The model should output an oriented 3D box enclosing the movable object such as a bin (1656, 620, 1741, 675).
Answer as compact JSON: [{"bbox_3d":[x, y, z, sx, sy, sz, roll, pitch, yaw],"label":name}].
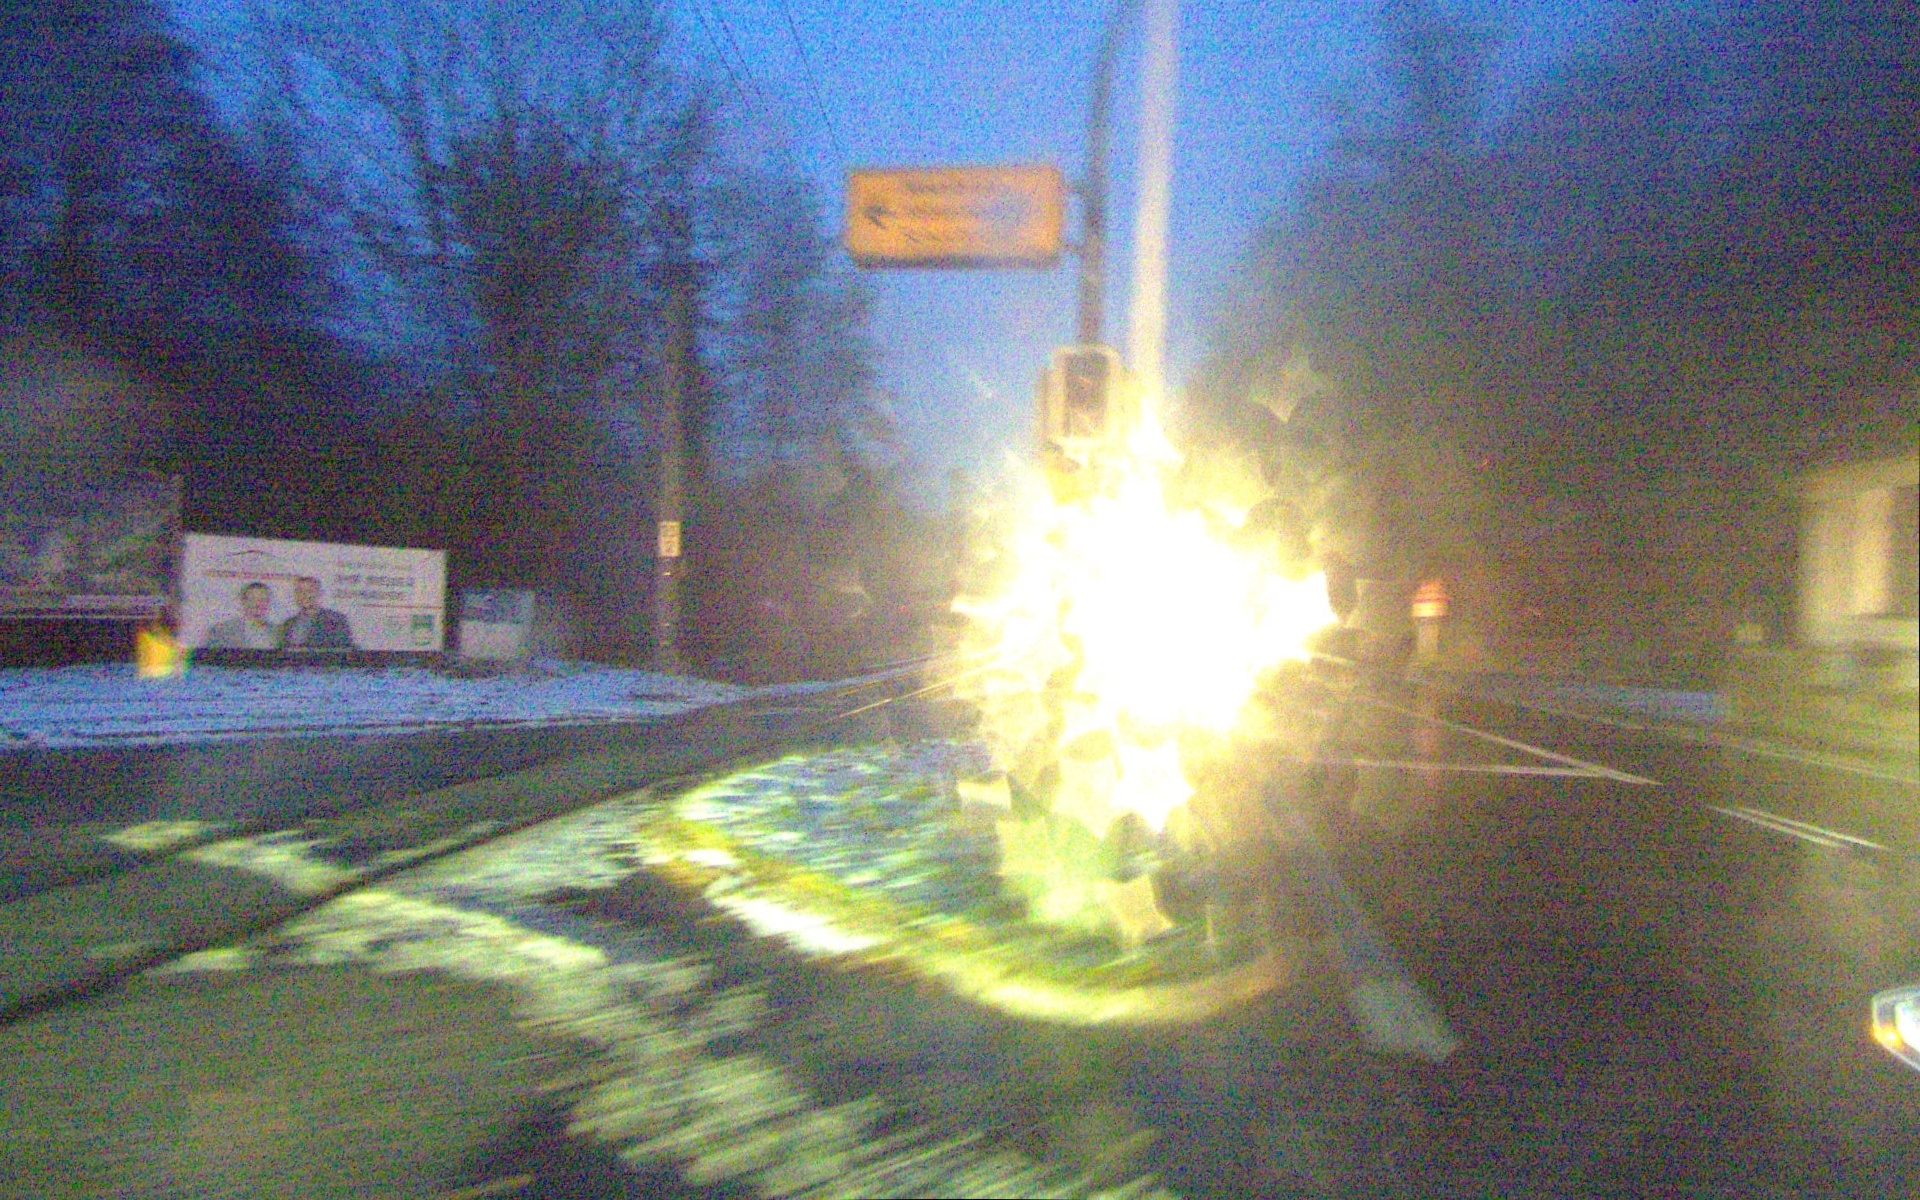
[{"bbox_3d":[19.803,1.270,26.966,1.232,1.431,1.385,1,-3,-20],"label":"movable object such as a bin"}]

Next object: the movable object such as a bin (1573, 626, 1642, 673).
[{"bbox_3d":[18.975,1.431,29.431,1.162,1.326,1.313,0,-1,-28],"label":"movable object such as a bin"}]

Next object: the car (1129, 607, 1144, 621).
[{"bbox_3d":[22.597,1.769,128.511,1.856,1.694,4.002,0,0,9],"label":"car"}]

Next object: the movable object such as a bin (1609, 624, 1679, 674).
[{"bbox_3d":[19.131,1.363,28.107,1.138,1.343,1.224,1,-1,-26],"label":"movable object such as a bin"}]
